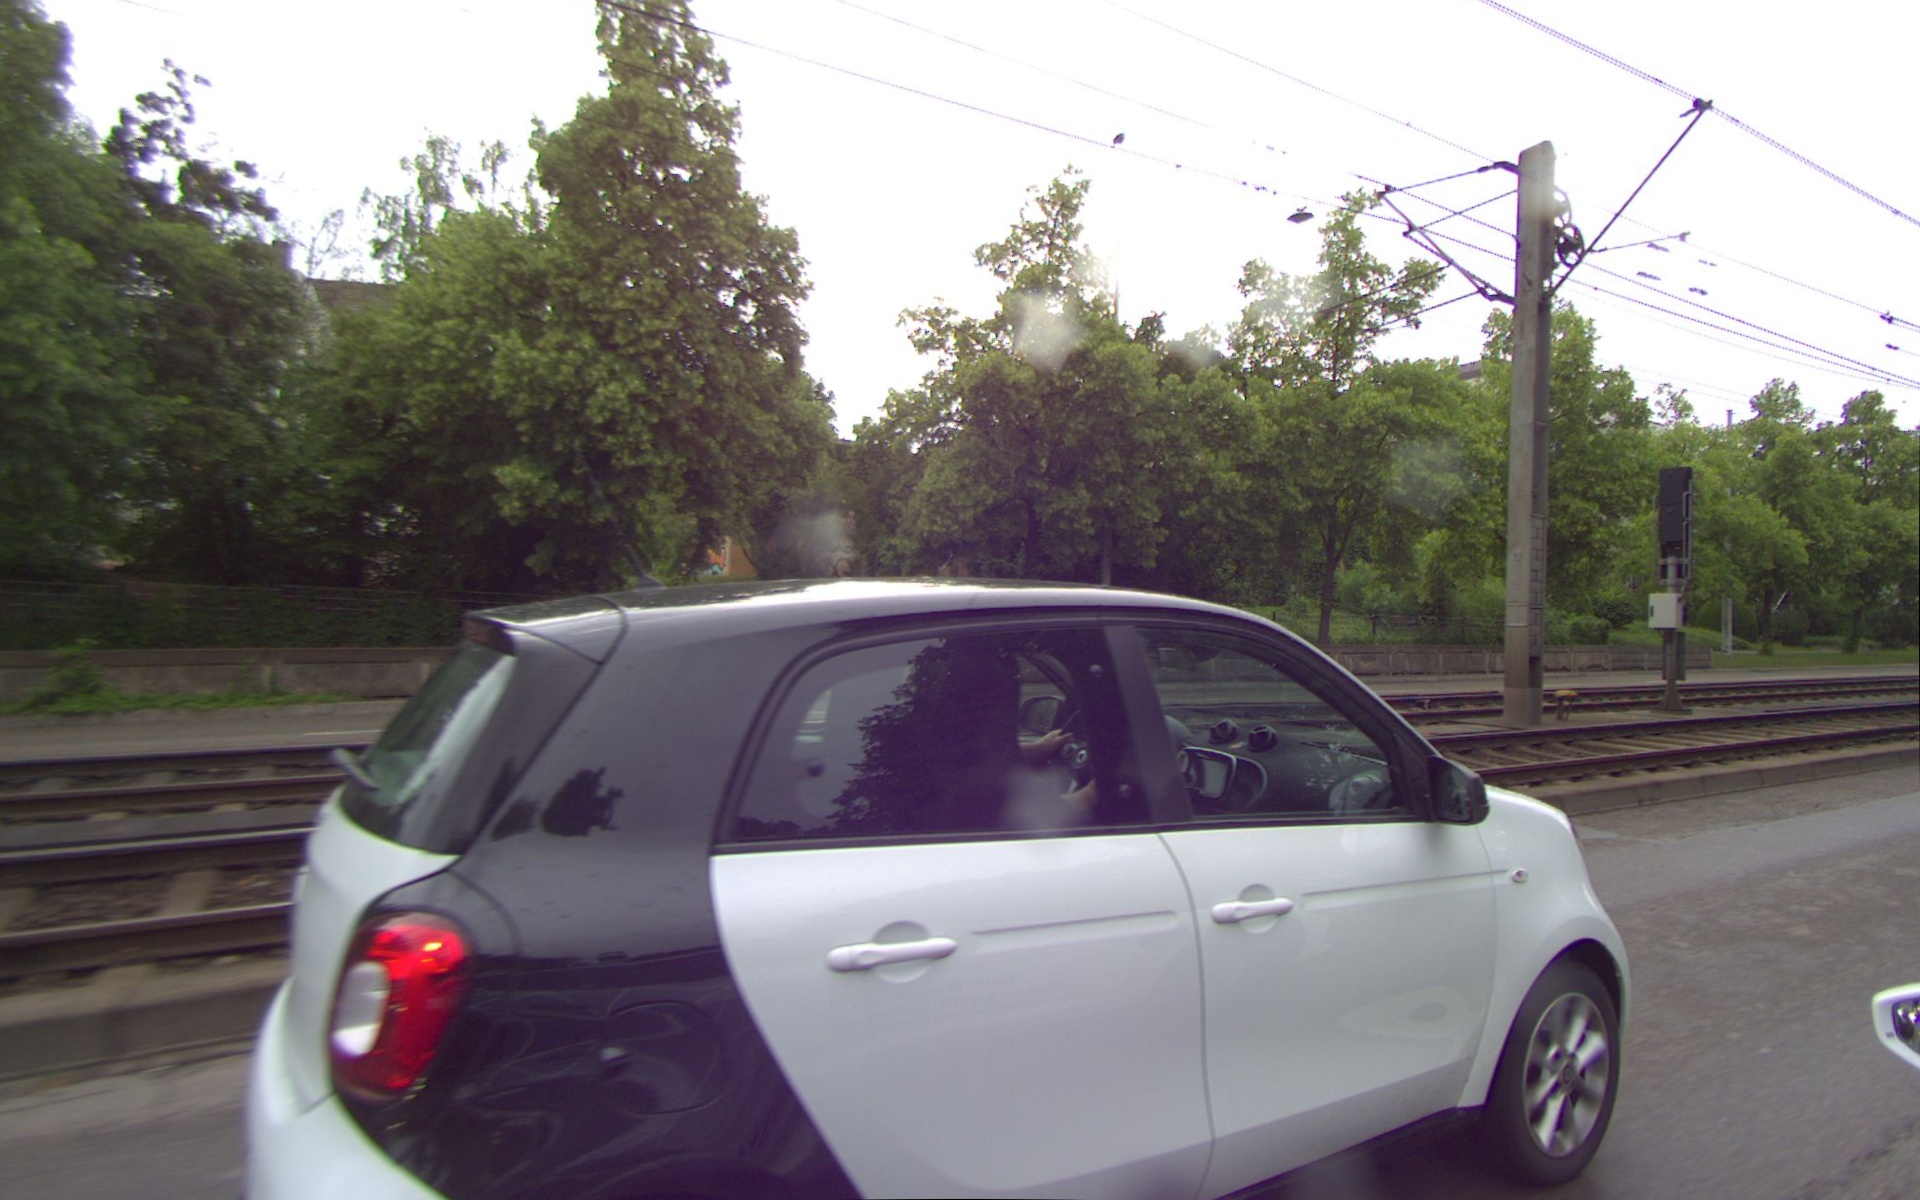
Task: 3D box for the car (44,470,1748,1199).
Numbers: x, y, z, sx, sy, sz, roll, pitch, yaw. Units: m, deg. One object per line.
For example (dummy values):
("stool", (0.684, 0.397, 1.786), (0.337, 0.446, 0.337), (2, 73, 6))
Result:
("car", (0.251, 0.684, 2.679), (3.677, 1.551, 1.668), (1, -1, -30))
